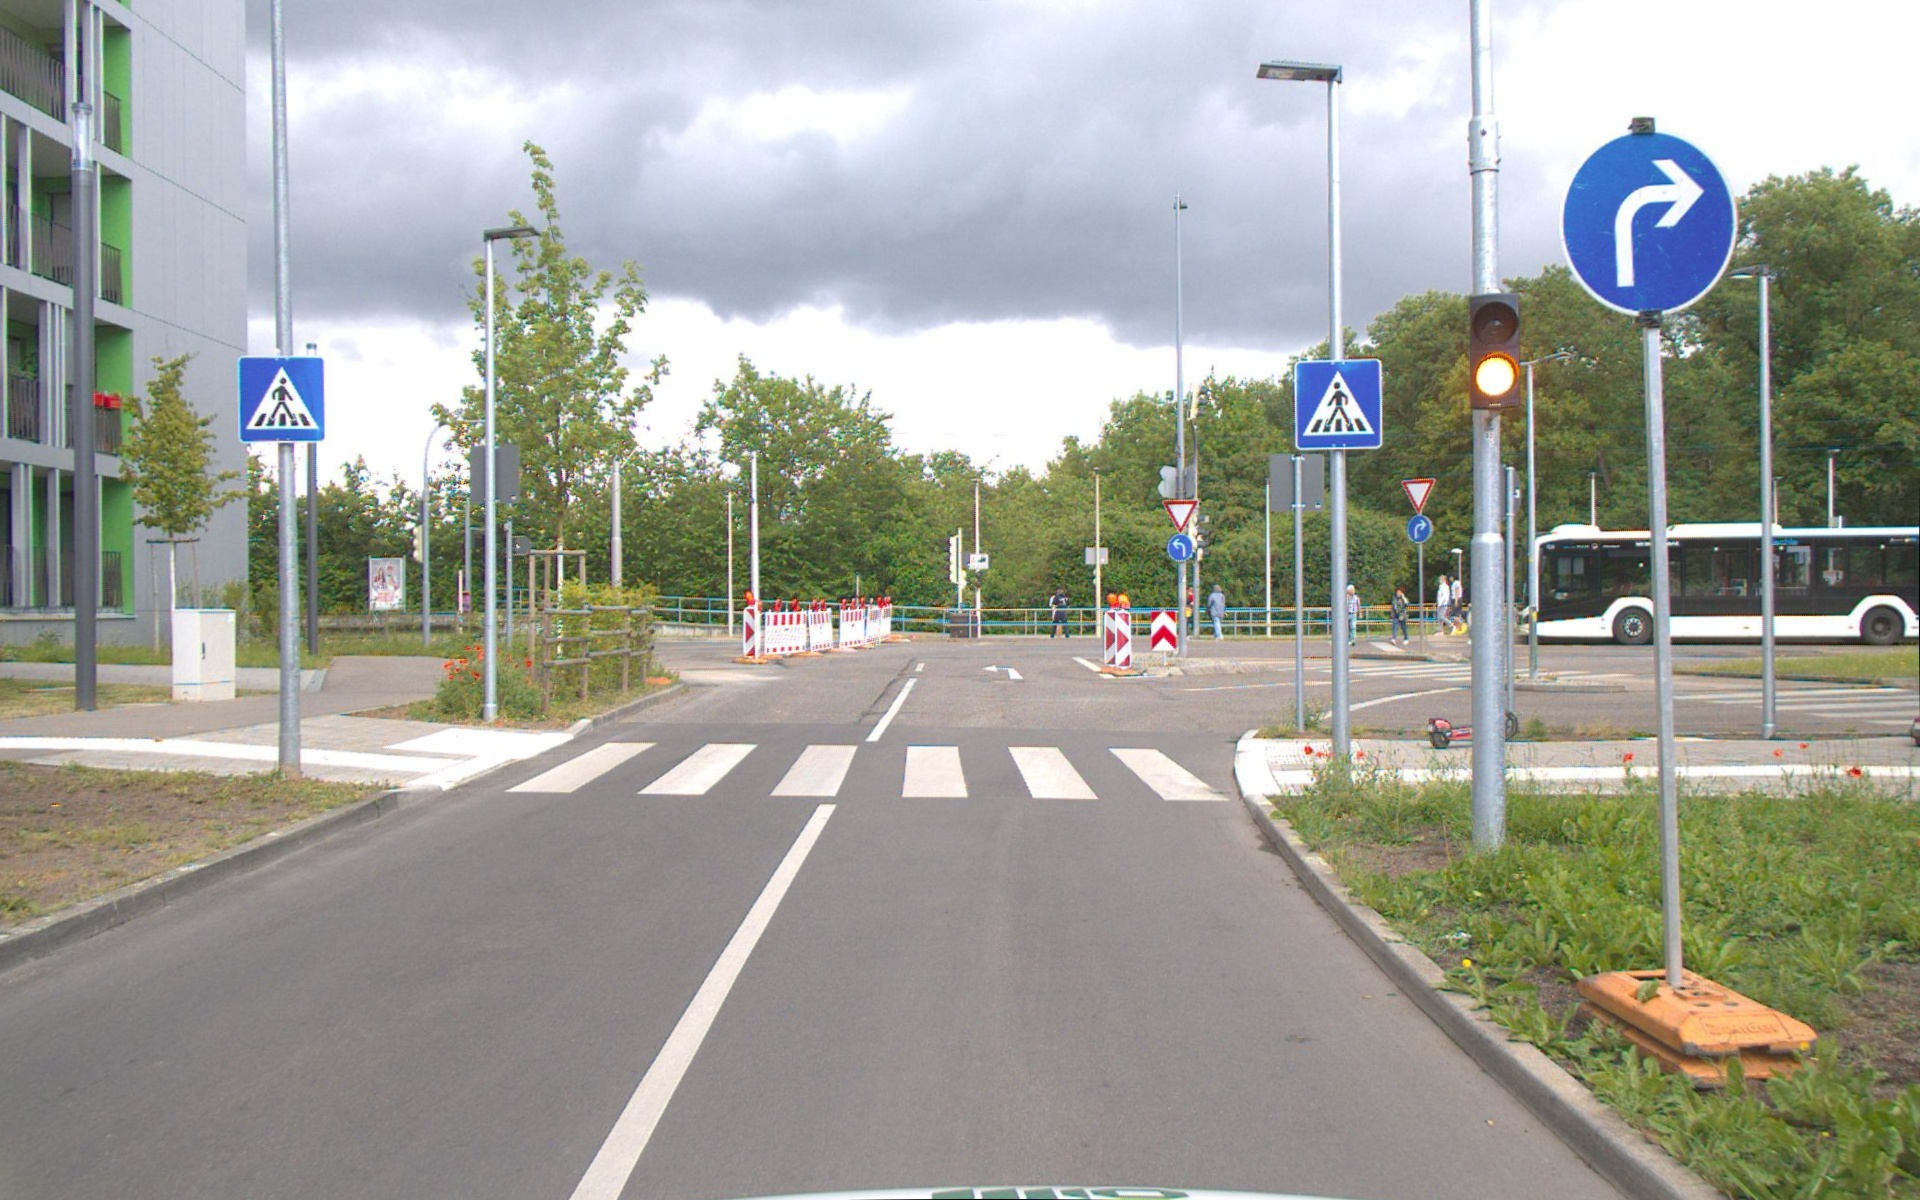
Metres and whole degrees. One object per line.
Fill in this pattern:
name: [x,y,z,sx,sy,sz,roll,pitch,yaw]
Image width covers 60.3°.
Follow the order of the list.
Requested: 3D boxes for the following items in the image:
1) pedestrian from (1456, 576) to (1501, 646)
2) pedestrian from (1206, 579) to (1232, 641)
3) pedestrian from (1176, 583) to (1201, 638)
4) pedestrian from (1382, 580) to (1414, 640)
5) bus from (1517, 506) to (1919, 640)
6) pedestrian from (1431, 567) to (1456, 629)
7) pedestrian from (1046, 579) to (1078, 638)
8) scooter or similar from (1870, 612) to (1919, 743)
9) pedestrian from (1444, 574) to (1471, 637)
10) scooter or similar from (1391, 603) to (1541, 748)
pedestrian: [13.518,0.281,43.120,0.936,1.777,1.060,0,0,30]
pedestrian: [7.460,0.278,47.672,0.705,1.778,0.958,0,0,11]
pedestrian: [6.871,0.309,49.674,0.705,1.649,0.806,0,0,11]
pedestrian: [11.869,0.268,44.805,0.677,1.594,0.731,0,0,30]
bus: [20.935,-0.672,43.072,11.899,3.259,2.677,-1,0,12]
pedestrian: [14.183,-0.058,48.519,0.705,1.778,0.958,0,0,17]
pedestrian: [3.120,0.250,50.592,0.935,1.778,0.722,0,0,-2]
scooter or similar: [9.934,0.784,17.098,0.611,1.297,1.486,0,-1,42]
pedestrian: [14.213,0.159,47.259,0.705,1.778,0.958,0,0,17]
scooter or similar: [4.876,0.694,15.904,1.507,1.336,0.566,0,0,-34]
